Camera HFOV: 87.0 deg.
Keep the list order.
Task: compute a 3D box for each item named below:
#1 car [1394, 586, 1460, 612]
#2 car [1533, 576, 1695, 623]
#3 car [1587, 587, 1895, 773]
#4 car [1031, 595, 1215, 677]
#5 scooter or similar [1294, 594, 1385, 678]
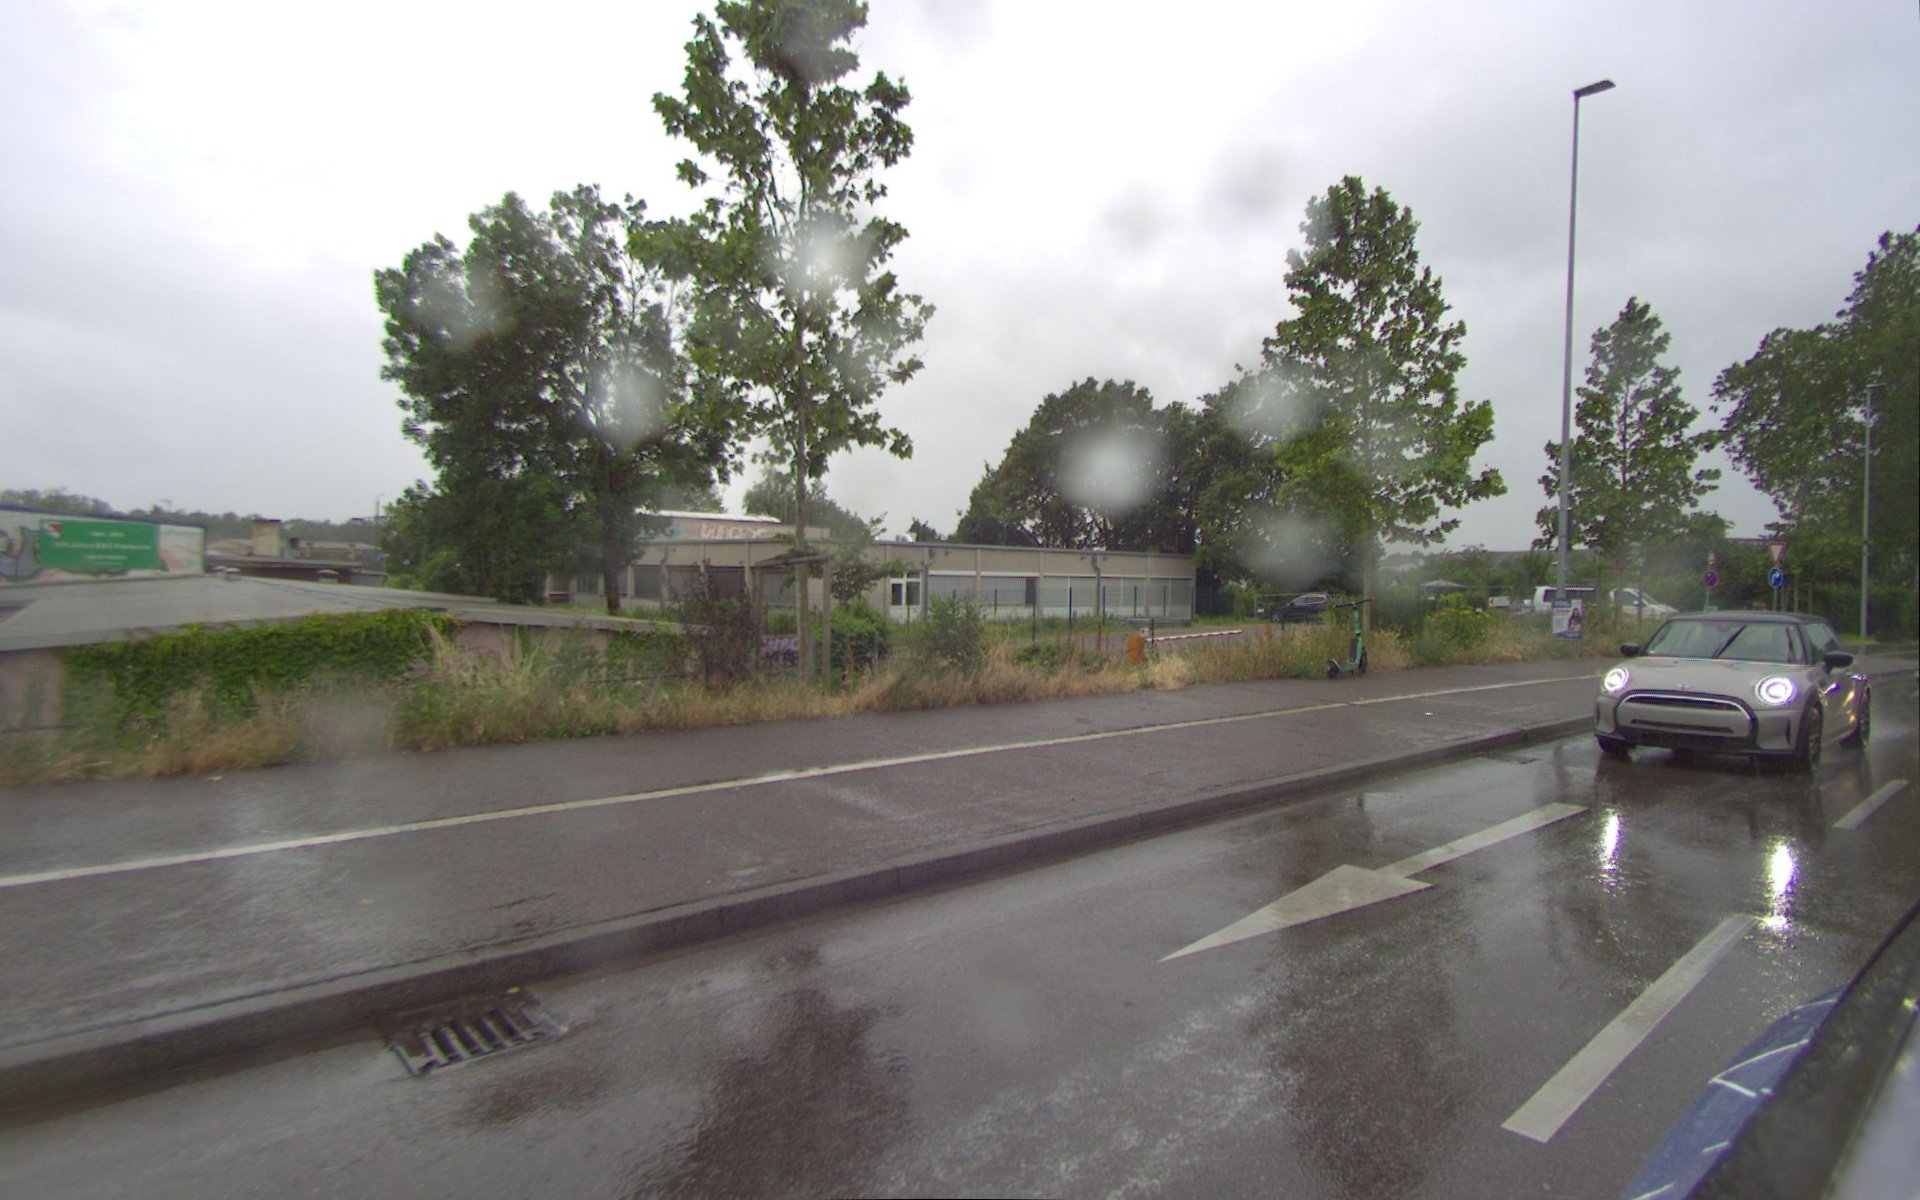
[{"bbox_3d":[29.035,-0.075,63.037,1.319,1.604,3.555,0,0,-35],"label":"car"},{"bbox_3d":[26.232,-0.026,40.759,1.972,1.747,5.168,0,0,-42],"label":"car"},{"bbox_3d":[7.963,0.667,10.208,3.810,1.527,1.706,1,-1,-40],"label":"car"},{"bbox_3d":[2.792,0.571,17.843,1.319,1.304,3.246,0,0,-35],"label":"car"},{"bbox_3d":[5.773,0.516,15.360,1.878,1.214,0.367,0,0,-38],"label":"scooter or similar"}]
